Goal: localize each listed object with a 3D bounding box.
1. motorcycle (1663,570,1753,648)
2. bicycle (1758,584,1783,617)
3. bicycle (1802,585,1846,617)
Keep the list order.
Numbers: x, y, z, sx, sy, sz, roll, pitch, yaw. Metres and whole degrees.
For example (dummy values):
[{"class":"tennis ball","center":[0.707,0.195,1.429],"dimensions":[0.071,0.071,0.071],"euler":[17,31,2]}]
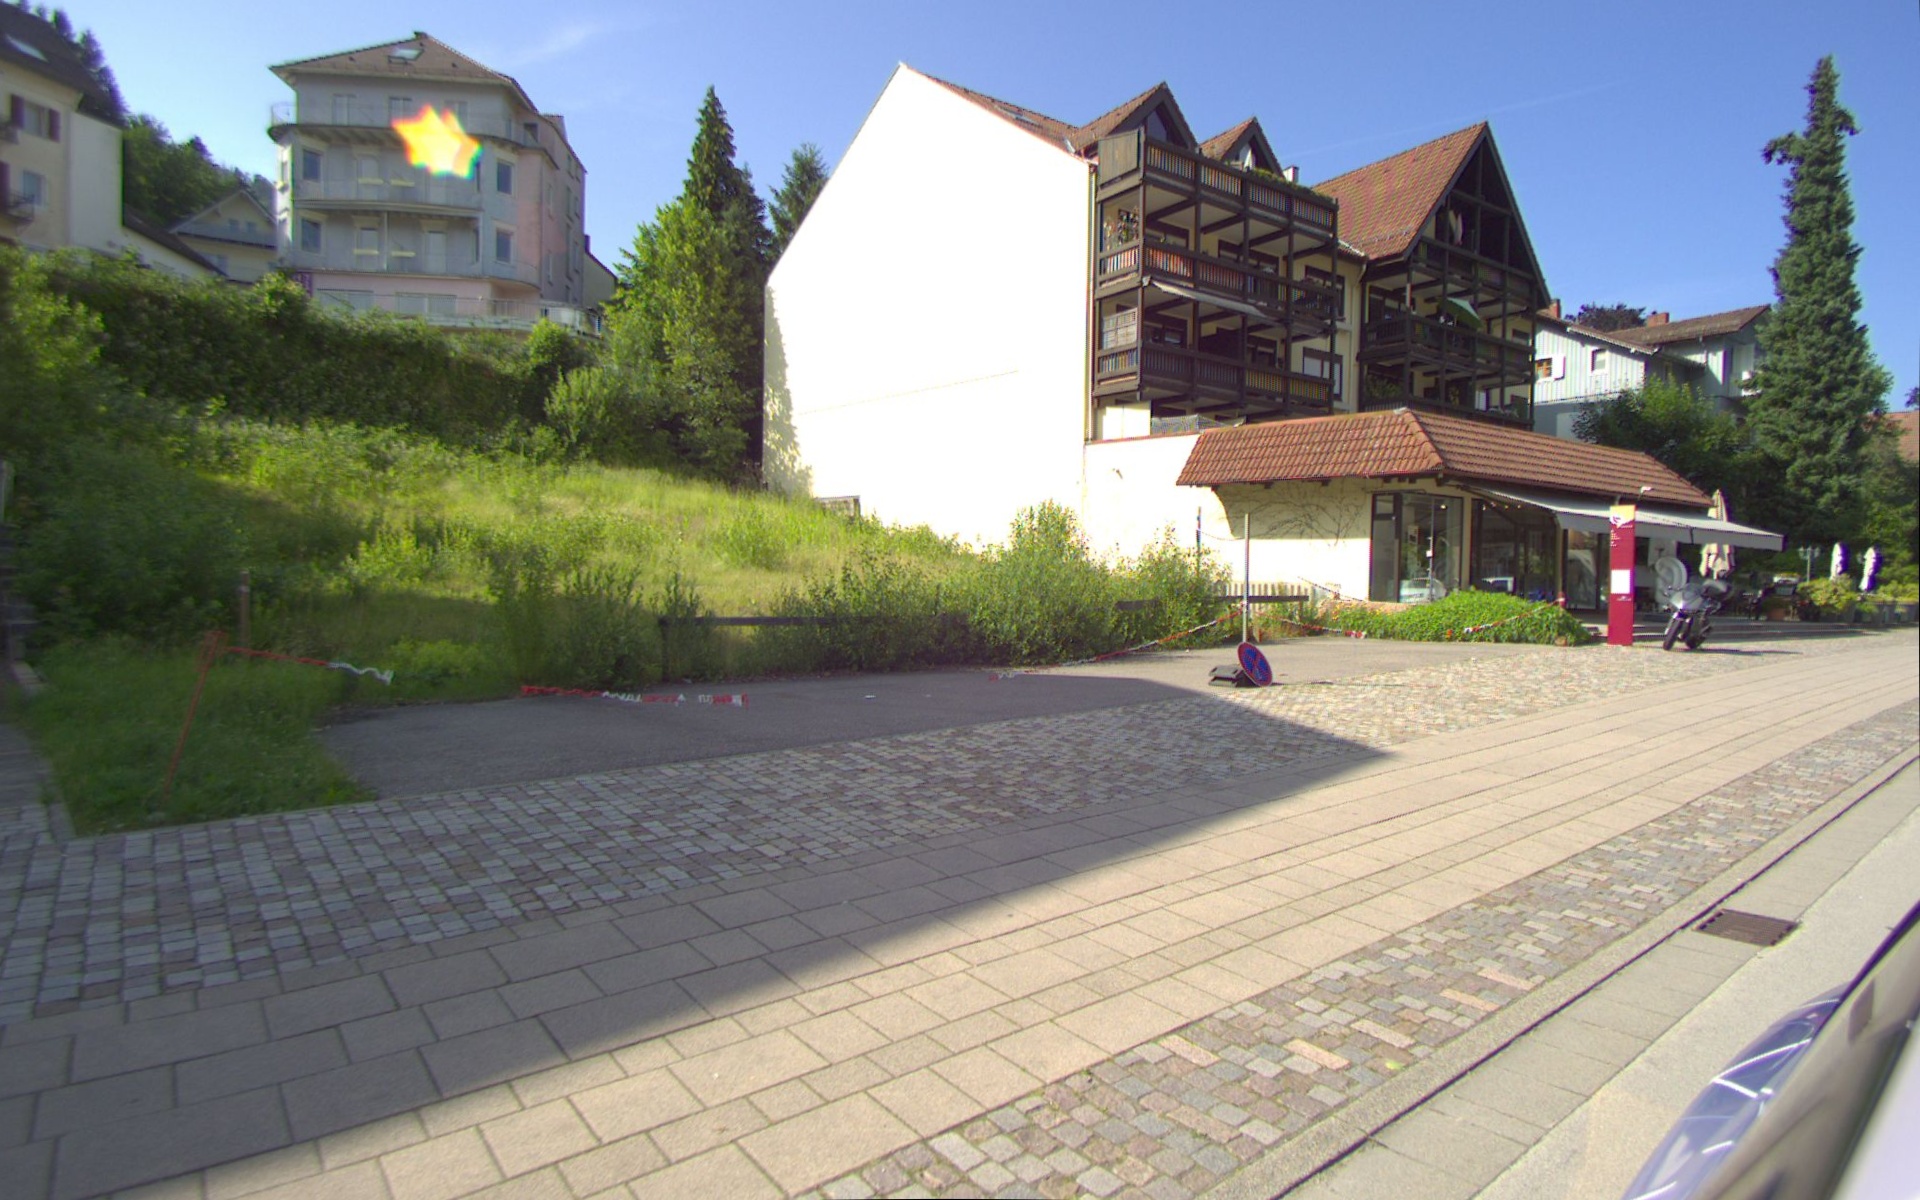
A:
[{"class":"motorcycle","center":[13.513,0.137,18.259],"dimensions":[2.172,1.311,0.699],"euler":[-1,4,-38]},{"class":"bicycle","center":[23.446,-0.001,29.287],"dimensions":[0.395,0.852,1.597],"euler":[1,3,34]},{"class":"bicycle","center":[24.375,0.010,28.552],"dimensions":[1.583,0.874,0.398],"euler":[0,2,-29]}]
